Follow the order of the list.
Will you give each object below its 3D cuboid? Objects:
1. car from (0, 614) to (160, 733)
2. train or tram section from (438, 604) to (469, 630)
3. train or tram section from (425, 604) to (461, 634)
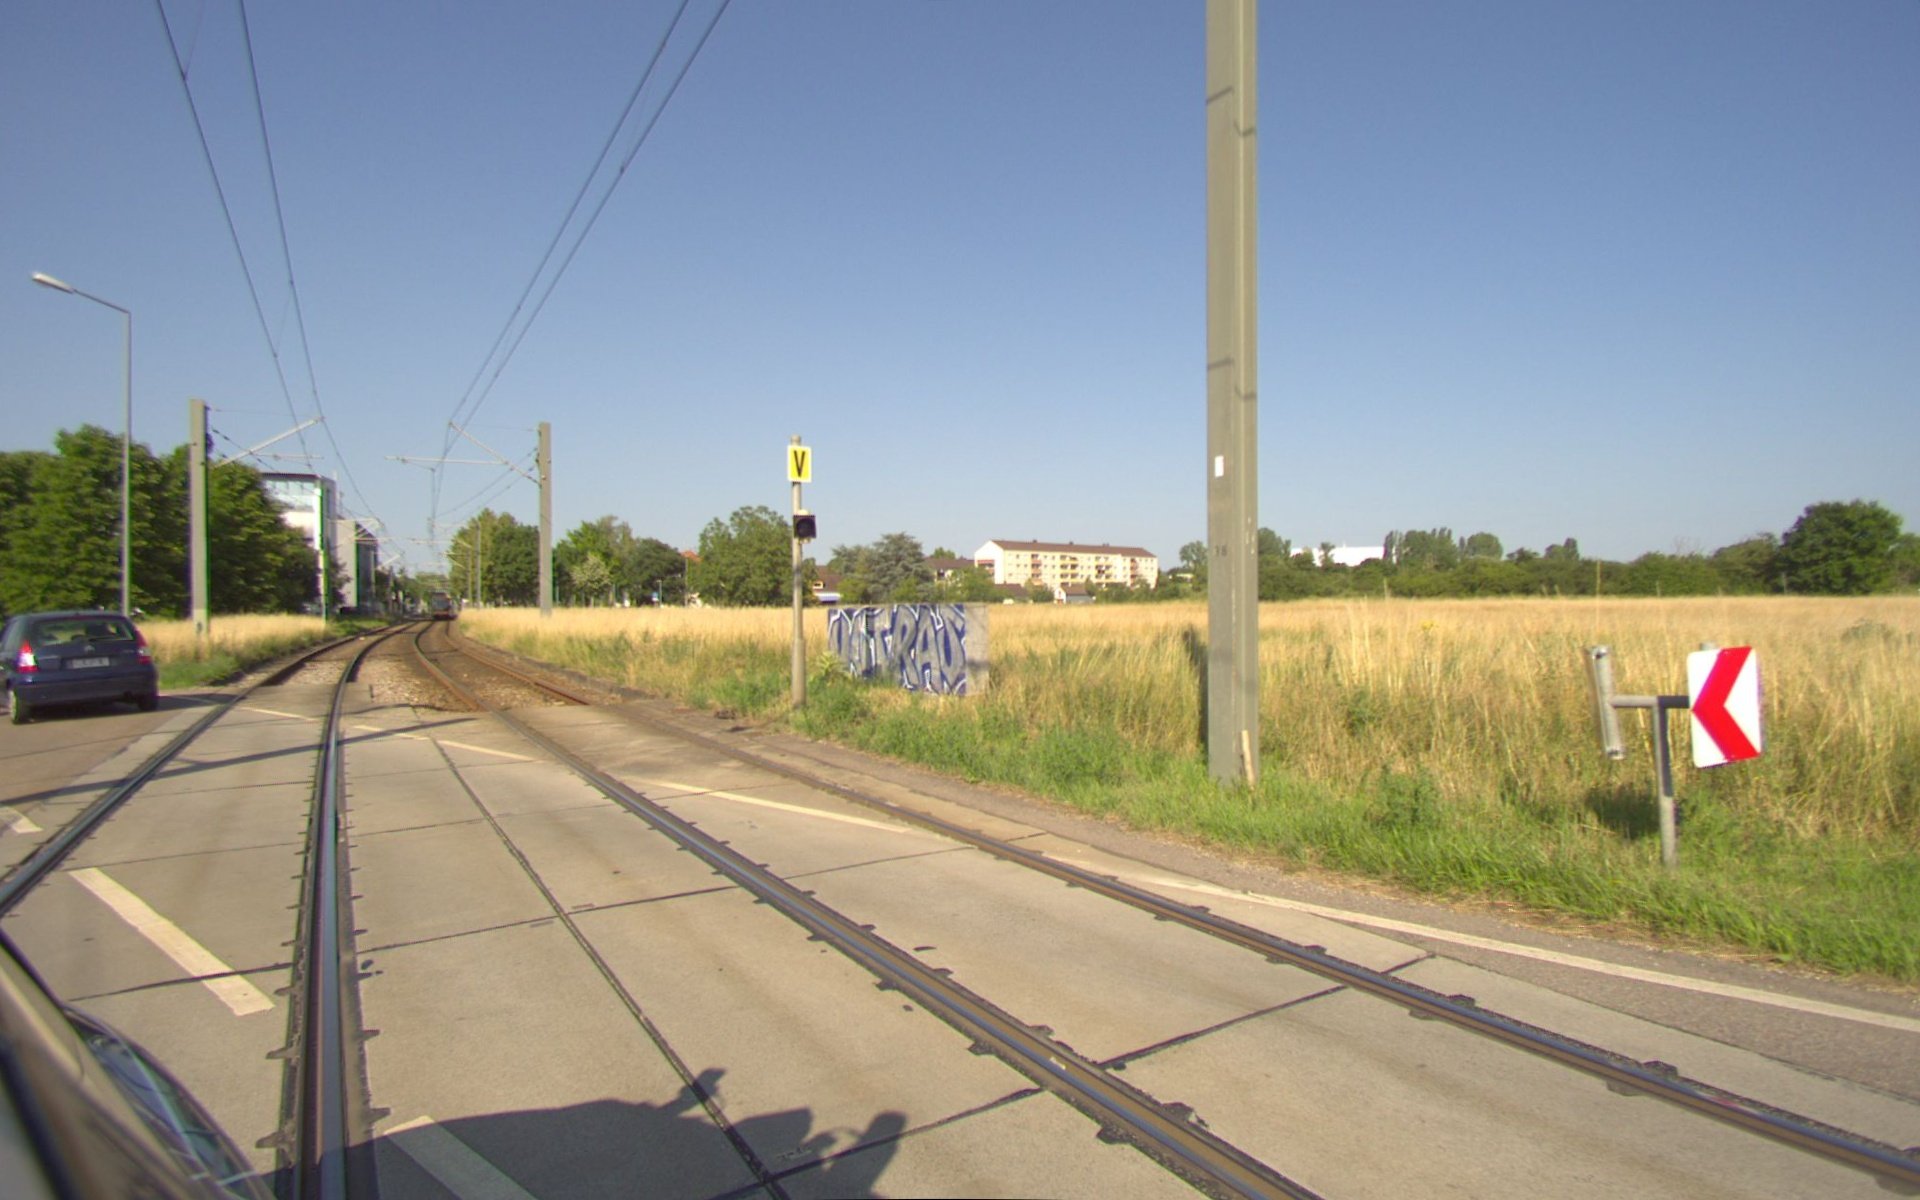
[{"bbox_3d":[-13.423,1.034,15.065,3.997,1.505,1.607,-3,-1,40],"label":"car"},{"bbox_3d":[-75.022,2.412,150.034,2.876,3.480,12.205,-2,1,-21],"label":"train or tram section"},{"bbox_3d":[-70.245,2.473,137.775,2.865,3.595,14.309,-2,2,-22],"label":"train or tram section"}]
